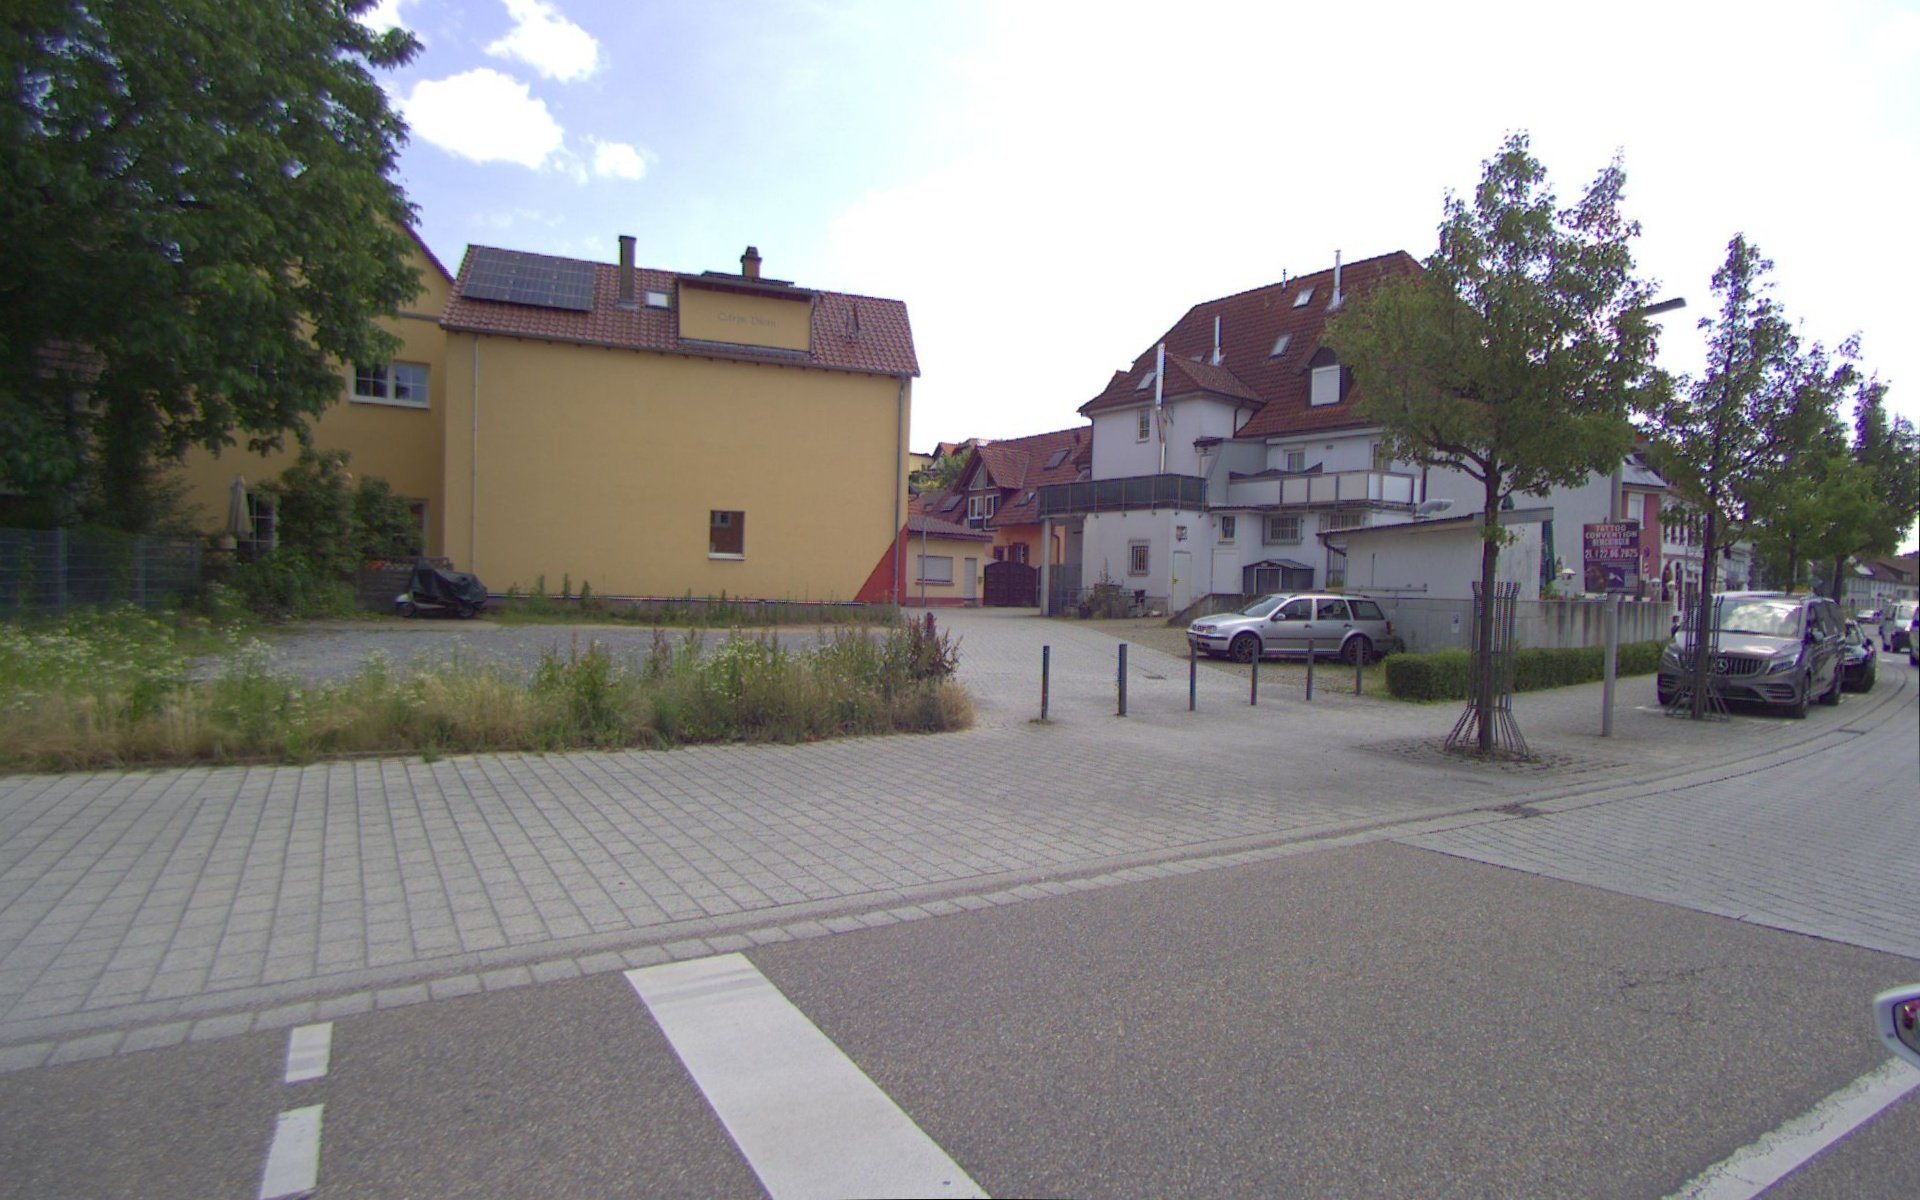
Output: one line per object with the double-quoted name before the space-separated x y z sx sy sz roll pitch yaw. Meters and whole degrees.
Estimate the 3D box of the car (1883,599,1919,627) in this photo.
"car" 66.991 0.946 71.499 1.618 1.873 3.591 1 -1 38

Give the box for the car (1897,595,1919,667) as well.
"car" 29.286 0.898 29.670 1.969 2.040 4.719 1 0 39

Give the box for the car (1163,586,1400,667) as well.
"car" 6.814 0.541 21.541 4.355 1.516 1.996 1 3 -9

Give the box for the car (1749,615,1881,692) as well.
"car" 18.902 1.091 22.123 4.507 1.442 1.798 1 1 -45

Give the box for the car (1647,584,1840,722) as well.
"car" 13.688 0.796 17.413 5.010 2.017 1.966 1 1 -45

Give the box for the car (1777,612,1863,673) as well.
"car" 23.691 1.106 27.633 1.650 1.494 3.941 2 1 42

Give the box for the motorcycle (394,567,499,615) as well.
"motorcycle" -11.459 -0.191 22.458 2.041 1.034 0.778 1 1 -29

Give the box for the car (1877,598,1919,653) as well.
"car" 37.637 0.985 39.485 1.969 2.040 4.719 1 0 39
